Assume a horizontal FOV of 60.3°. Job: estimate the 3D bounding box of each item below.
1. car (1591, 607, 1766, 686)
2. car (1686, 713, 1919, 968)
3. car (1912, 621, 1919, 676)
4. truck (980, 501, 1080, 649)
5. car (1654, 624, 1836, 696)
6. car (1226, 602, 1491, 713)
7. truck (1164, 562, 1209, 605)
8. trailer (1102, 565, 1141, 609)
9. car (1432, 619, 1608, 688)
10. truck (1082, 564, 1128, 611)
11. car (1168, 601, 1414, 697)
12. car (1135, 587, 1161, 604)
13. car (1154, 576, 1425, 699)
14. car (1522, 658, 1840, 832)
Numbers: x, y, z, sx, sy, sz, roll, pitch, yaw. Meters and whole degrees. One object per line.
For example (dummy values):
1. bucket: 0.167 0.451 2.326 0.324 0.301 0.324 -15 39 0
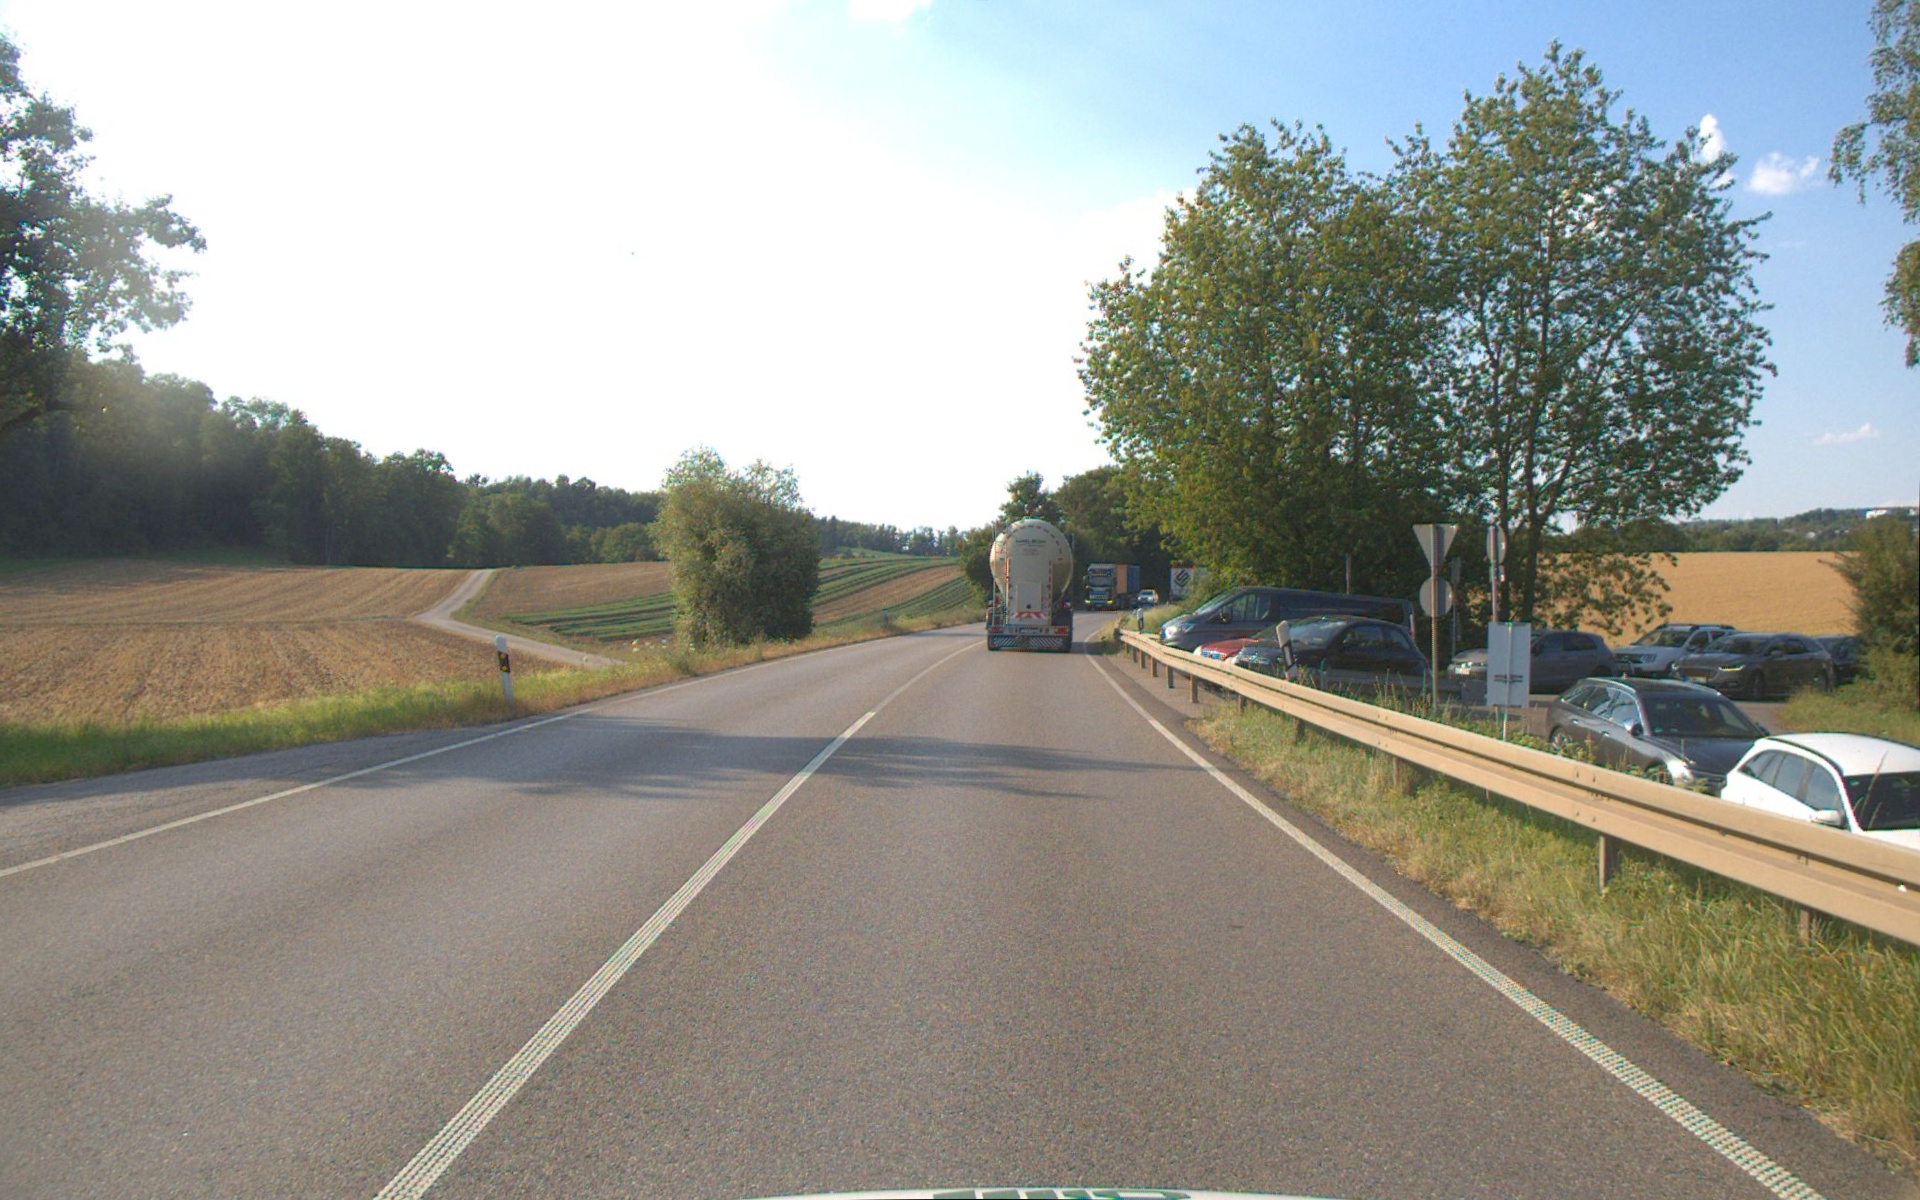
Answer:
1. car: 17.849 1.108 41.078 4.153 1.778 1.796 -1 1 -27
2. car: 9.165 2.215 16.477 1.853 1.586 4.785 -3 2 2
3. car: 27.526 1.360 44.566 3.888 1.466 1.789 2 0 -36
4. truck: 2.281 -0.735 54.234 2.832 4.215 13.176 1 0 2
5. car: 17.840 1.356 37.515 4.539 1.466 1.788 2 0 -36
6. car: 6.665 0.969 27.546 4.266 1.535 1.703 4 0 -31
7. truck: 23.933 -1.778 174.092 3.116 4.301 13.183 0 1 15
8. trailer: 15.254 -1.264 155.560 2.314 3.989 8.968 0 1 14
9. car: 13.061 1.256 38.560 3.672 1.466 1.797 2 0 -26
10. truck: 12.899 -1.110 146.292 2.338 3.989 10.168 0 1 14
11. car: 6.088 0.912 30.346 4.261 1.424 1.706 4 1 -28
12. car: 19.691 -0.459 173.179 1.933 1.679 4.365 0 1 16
13. car: 6.730 0.740 34.167 5.037 1.977 1.975 6 0 -1
14. car: 9.203 1.772 21.625 1.854 1.586 4.781 -3 2 -2
